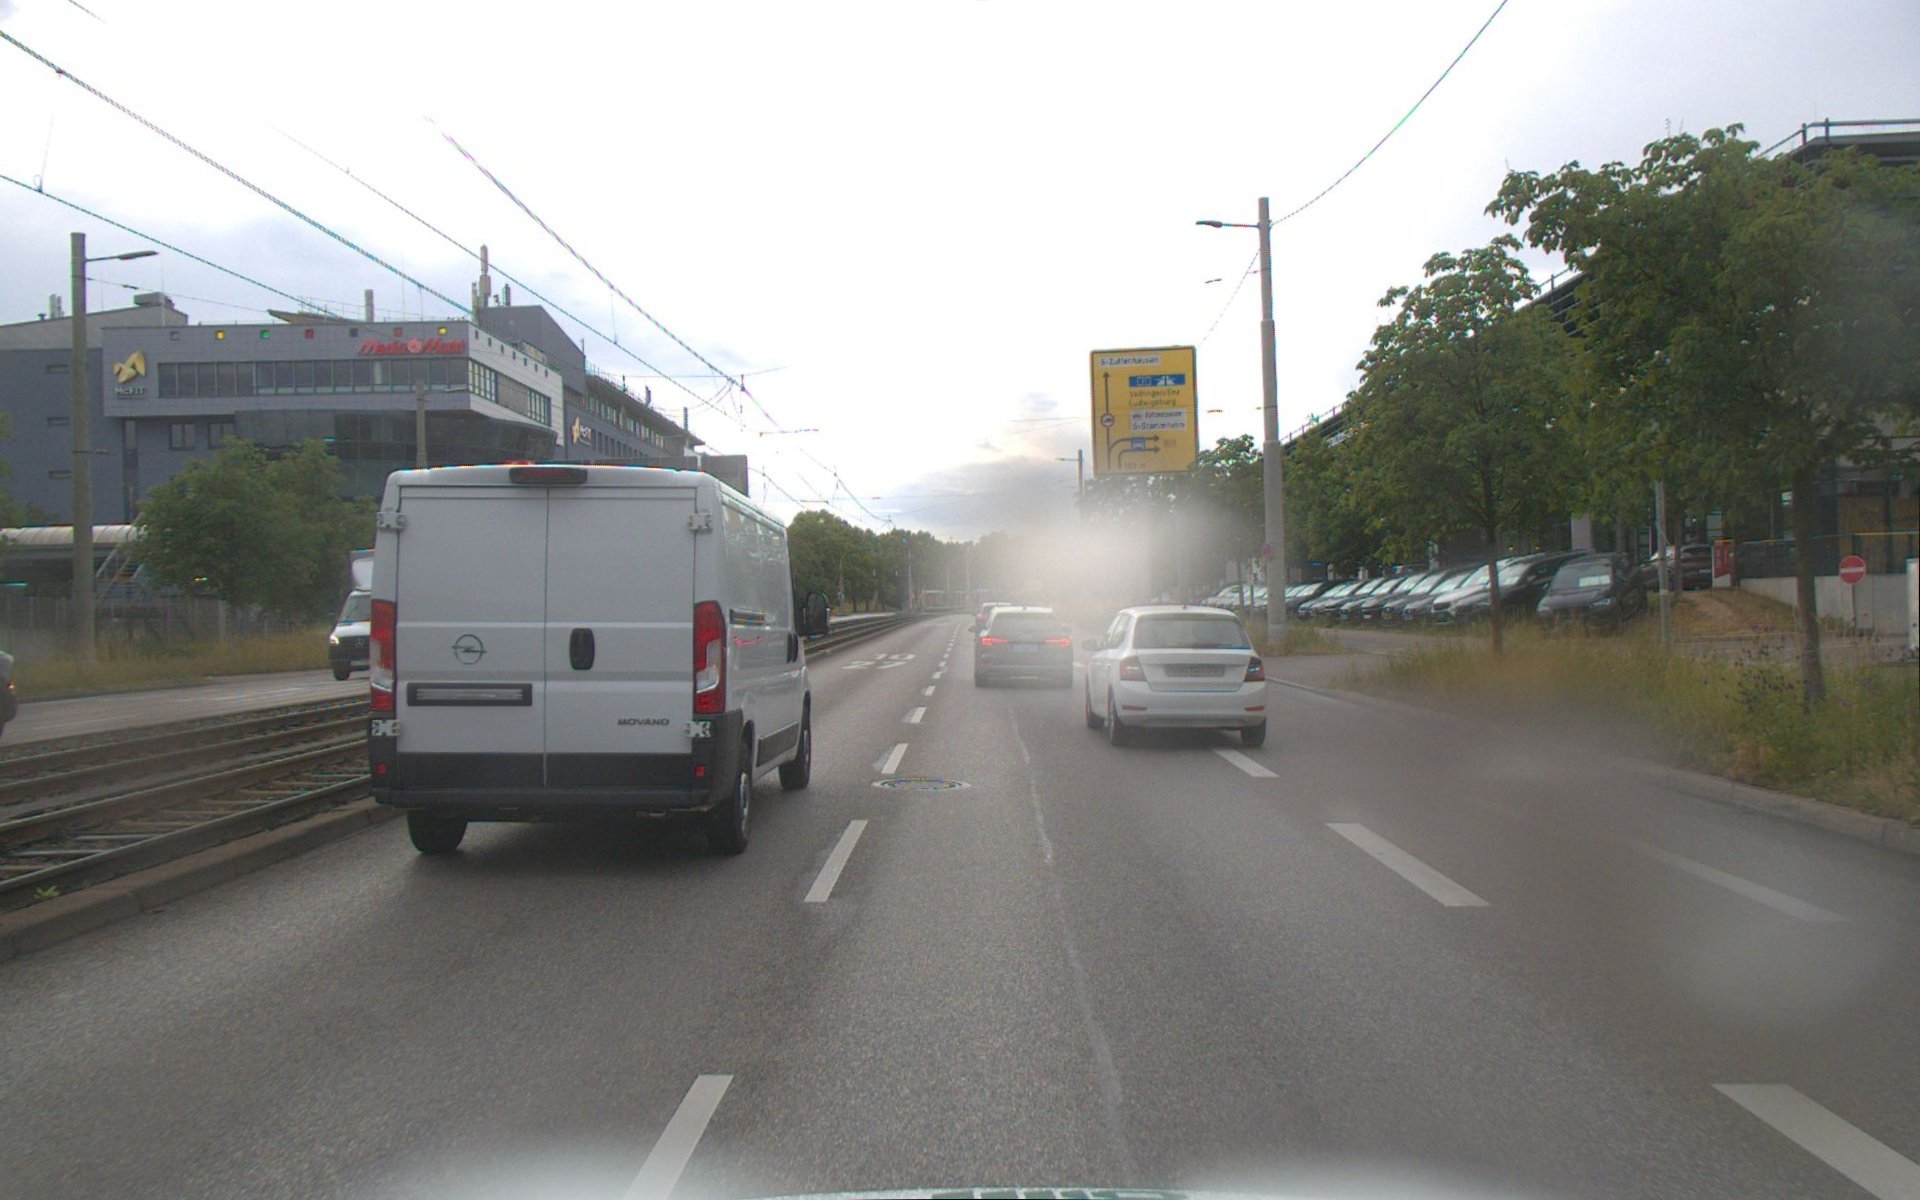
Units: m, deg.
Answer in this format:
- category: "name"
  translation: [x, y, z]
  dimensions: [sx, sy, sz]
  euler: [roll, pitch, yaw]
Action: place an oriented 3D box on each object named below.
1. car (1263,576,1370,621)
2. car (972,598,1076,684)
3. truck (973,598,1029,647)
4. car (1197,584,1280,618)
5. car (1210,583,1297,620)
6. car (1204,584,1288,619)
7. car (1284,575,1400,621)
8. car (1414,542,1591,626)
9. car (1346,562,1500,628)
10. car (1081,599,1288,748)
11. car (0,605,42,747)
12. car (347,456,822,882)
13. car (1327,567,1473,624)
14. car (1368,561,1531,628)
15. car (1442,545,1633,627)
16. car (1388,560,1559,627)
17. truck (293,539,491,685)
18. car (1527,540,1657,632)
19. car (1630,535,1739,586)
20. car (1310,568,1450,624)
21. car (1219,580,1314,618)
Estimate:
- category: "car"
  translation: [14.827, -0.063, 68.810]
  dimensions: [3.984, 1.603, 1.723]
  euler: [-3, 0, -20]
- category: "car"
  translation: [1.118, 0.712, 30.675]
  dimensions: [1.753, 1.474, 4.000]
  euler: [0, 0, 0]
- category: "truck"
  translation: [1.608, 0.871, 66.453]
  dimensions: [1.953, 1.822, 4.413]
  euler: [-2, 0, -1]
- category: "car"
  translation: [15.340, 0.056, 91.108]
  dimensions: [4.274, 1.640, 1.852]
  euler: [-3, 0, -29]
- category: "car"
  translation: [15.137, 0.061, 85.287]
  dimensions: [4.086, 1.632, 1.813]
  euler: [-3, 0, -25]
- category: "car"
  translation: [15.247, 0.072, 88.210]
  dimensions: [4.089, 1.589, 1.854]
  euler: [-3, 0, -26]
- category: "car"
  translation: [14.752, -0.083, 63.917]
  dimensions: [3.972, 1.527, 1.682]
  euler: [-3, 0, -11]
- category: "car"
  translation: [14.987, -0.441, 45.690]
  dimensions: [4.420, 2.026, 1.810]
  euler: [-3, 0, -20]
- category: "car"
  translation: [14.970, -0.154, 53.536]
  dimensions: [4.406, 1.827, 1.816]
  euler: [-3, 0, -12]
- category: "car"
  translation: [2.408, 0.741, 18.561]
  dimensions: [1.711, 1.483, 3.669]
  euler: [1, 0, -2]
- category: "car"
  translation: [-12.475, 0.986, 18.380]
  dimensions: [1.869, 1.685, 4.362]
  euler: [-4, 0, 3]
- category: "car"
  translation: [-2.218, 0.356, 11.376]
  dimensions: [2.047, 2.235, 5.061]
  euler: [1, 0, 0]
- category: "car"
  translation: [14.956, -0.142, 56.281]
  dimensions: [4.403, 1.647, 1.817]
  euler: [-3, 0, -9]
- category: "car"
  translation: [14.977, -0.162, 50.681]
  dimensions: [4.406, 1.782, 1.816]
  euler: [-3, 0, -12]
- category: "car"
  translation: [14.937, -0.360, 42.858]
  dimensions: [4.302, 1.821, 1.872]
  euler: [-3, 0, -14]
- category: "car"
  translation: [14.906, -0.185, 48.095]
  dimensions: [4.410, 1.666, 1.815]
  euler: [-3, 0, -14]
- category: "truck"
  translation: [-14.938, 0.273, 44.131]
  dimensions: [2.672, 3.415, 7.151]
  euler: [-4, 0, 0]
- category: "car"
  translation: [14.987, -0.366, 39.097]
  dimensions: [1.840, 1.847, 4.378]
  euler: [-3, 1, 34]
- category: "car"
  translation: [23.379, -1.259, 53.515]
  dimensions: [1.743, 1.498, 3.898]
  euler: [-2, 0, -1]
- category: "car"
  translation: [14.891, -0.136, 58.725]
  dimensions: [4.406, 1.692, 1.816]
  euler: [-3, 0, -11]
- category: "car"
  translation: [14.742, -0.048, 79.521]
  dimensions: [4.083, 1.597, 1.896]
  euler: [-3, 0, -23]
